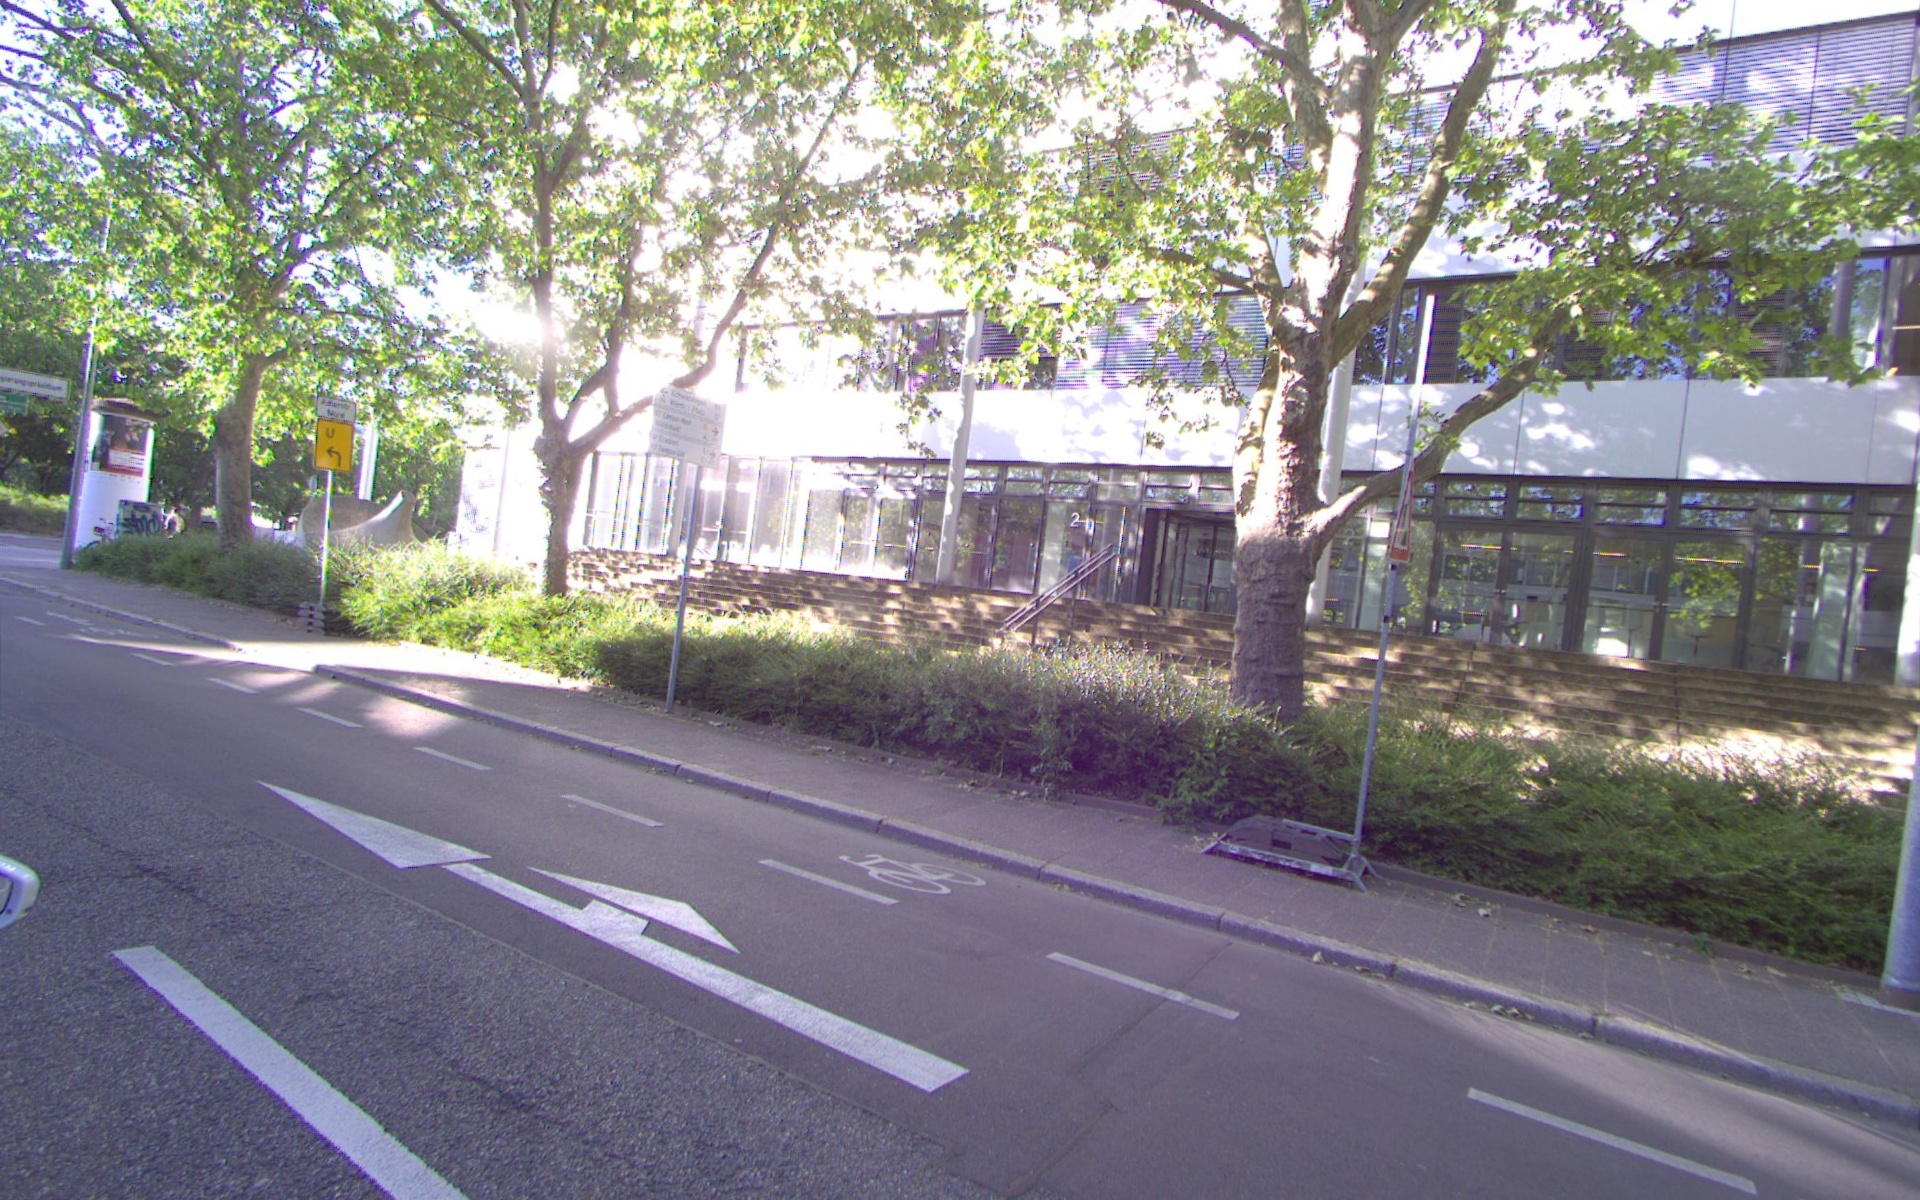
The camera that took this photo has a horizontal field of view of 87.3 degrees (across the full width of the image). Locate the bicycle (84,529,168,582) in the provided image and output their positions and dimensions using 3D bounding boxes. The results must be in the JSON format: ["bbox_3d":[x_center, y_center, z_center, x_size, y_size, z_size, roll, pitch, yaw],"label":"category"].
[{"bbox_3d":[-19.238,-1.011,23.231,0.357,1.036,1.354,7,-1,33],"label":"bicycle"}]

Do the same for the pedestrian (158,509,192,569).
[{"bbox_3d":[-25.781,-2.012,33.053,0.584,1.871,0.552,7,0,33],"label":"pedestrian"}]
